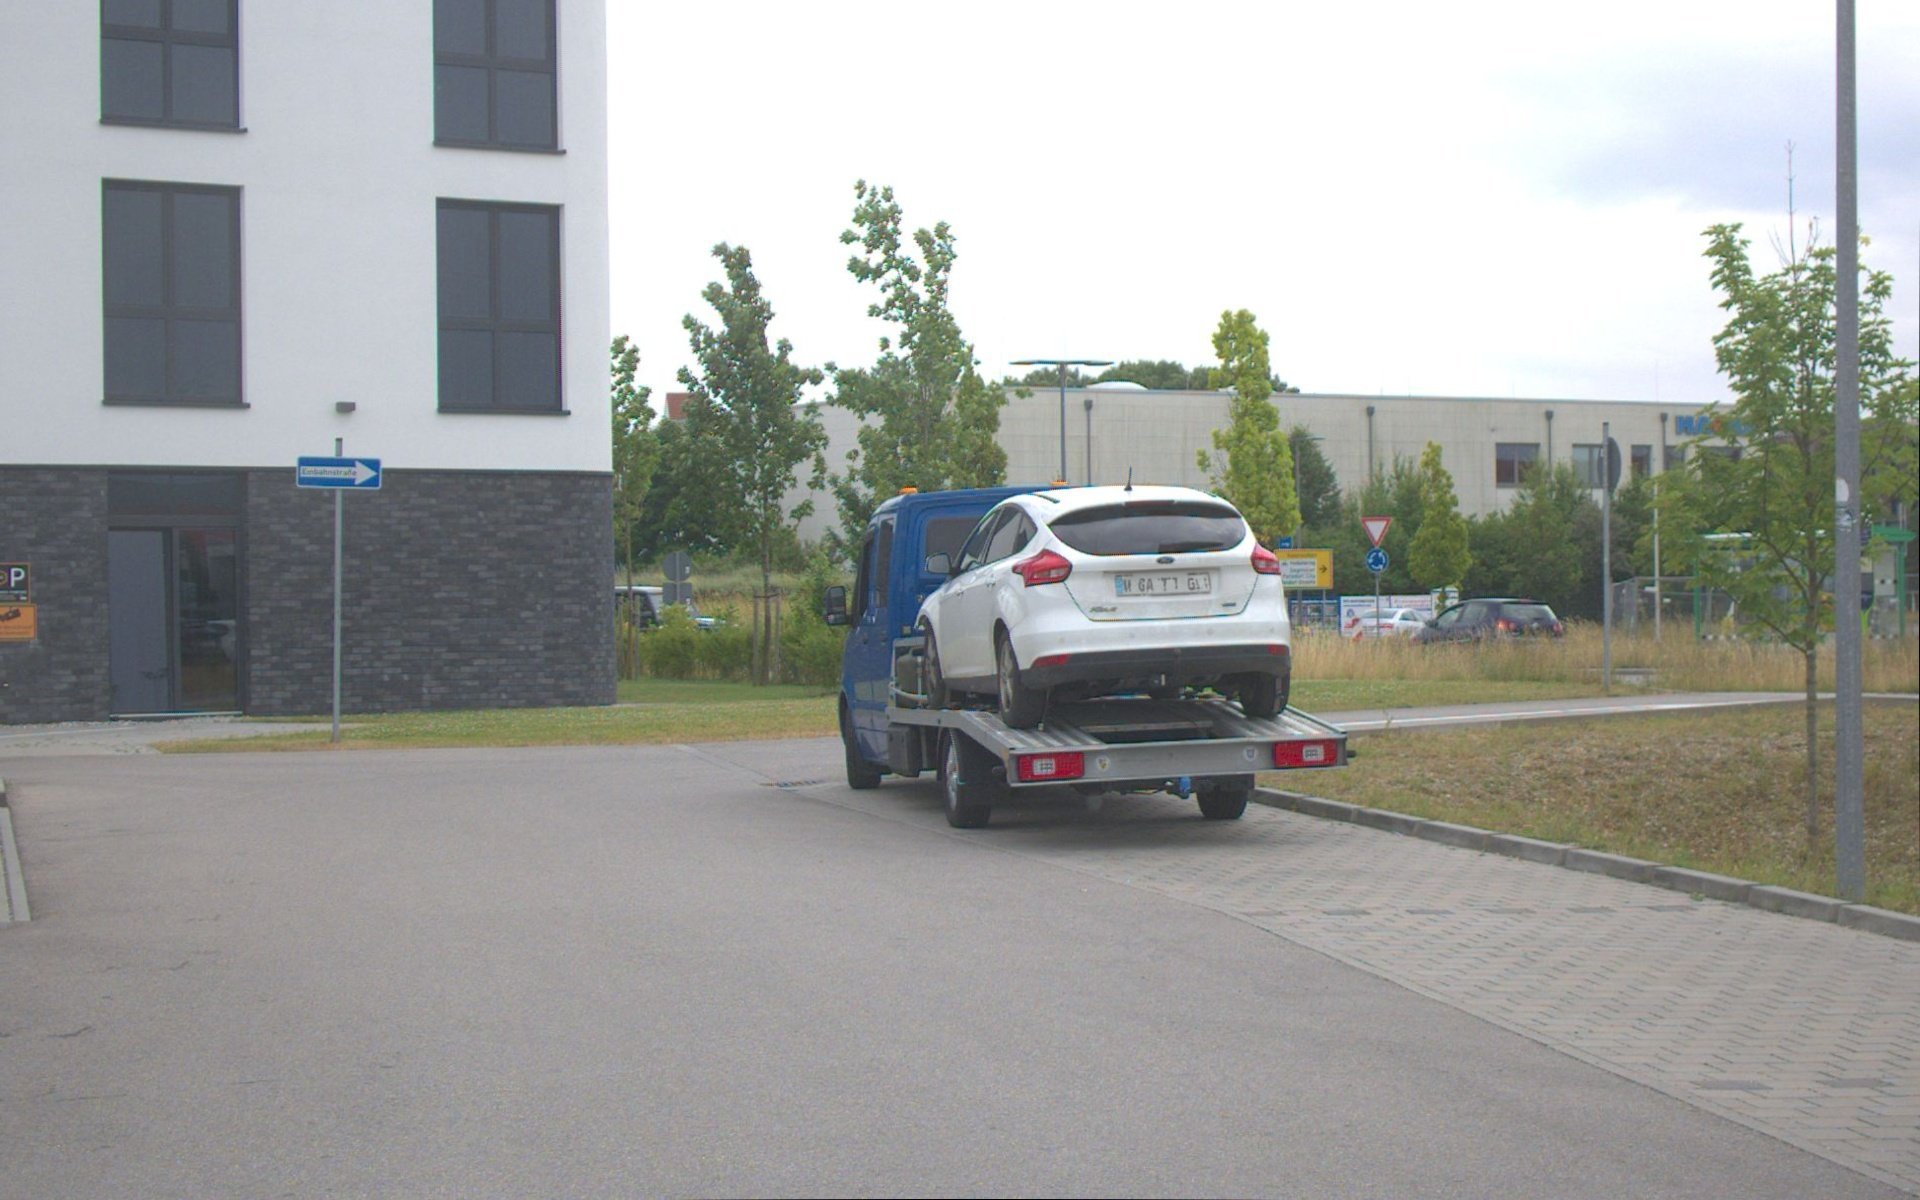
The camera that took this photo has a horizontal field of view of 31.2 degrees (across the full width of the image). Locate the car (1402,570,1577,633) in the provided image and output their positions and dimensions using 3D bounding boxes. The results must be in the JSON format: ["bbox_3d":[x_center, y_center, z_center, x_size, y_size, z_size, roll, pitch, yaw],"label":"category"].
[{"bbox_3d":[10.602,0.016,69.132,1.714,1.220,4.001,-1,1,-21],"label":"car"}]

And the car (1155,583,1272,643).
[{"bbox_3d":[6.153,0.308,83.886,1.564,1.415,3.495,-1,1,-19],"label":"car"}]

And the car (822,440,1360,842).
[{"bbox_3d":[0.620,0.246,23.893,2.193,2.315,7.859,0,0,-9],"label":"car"}]
